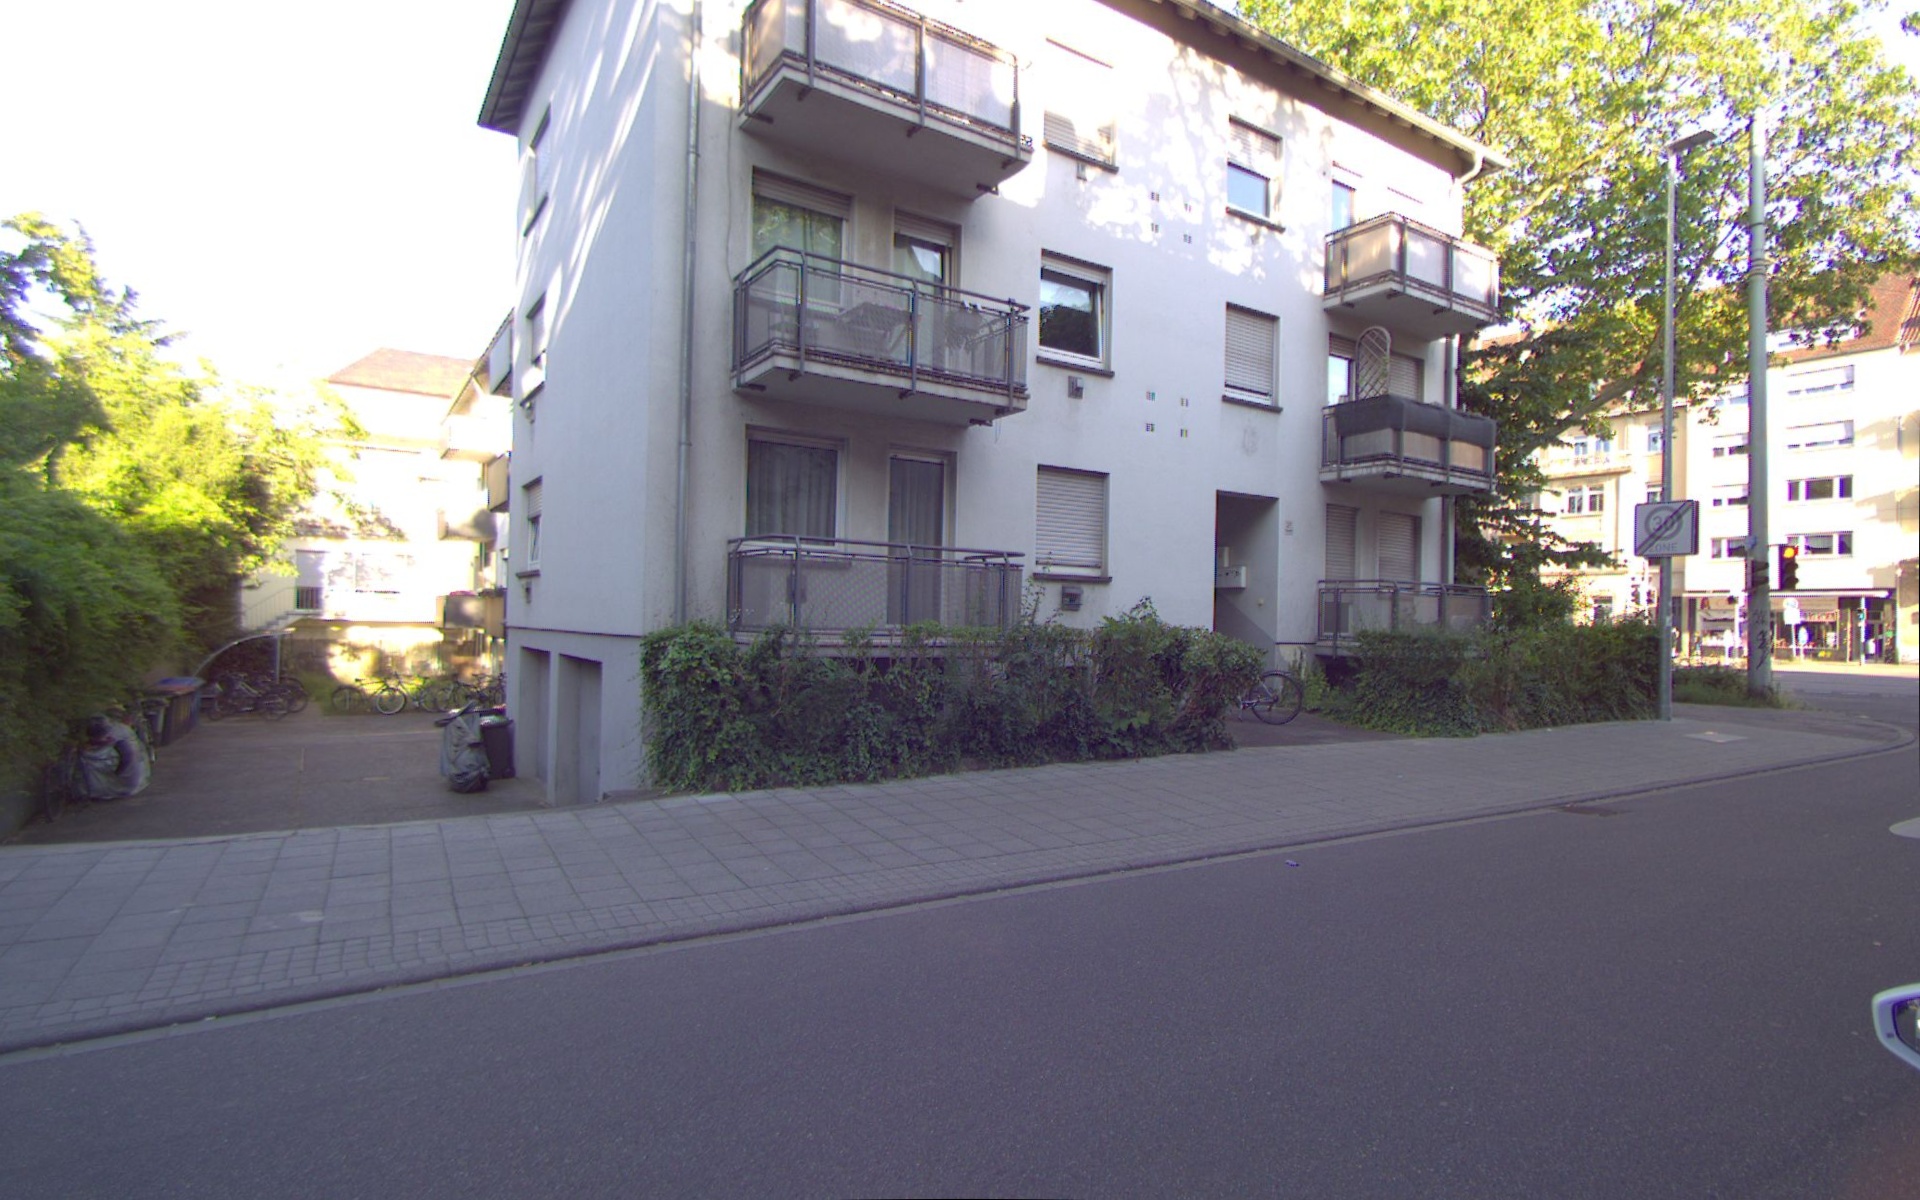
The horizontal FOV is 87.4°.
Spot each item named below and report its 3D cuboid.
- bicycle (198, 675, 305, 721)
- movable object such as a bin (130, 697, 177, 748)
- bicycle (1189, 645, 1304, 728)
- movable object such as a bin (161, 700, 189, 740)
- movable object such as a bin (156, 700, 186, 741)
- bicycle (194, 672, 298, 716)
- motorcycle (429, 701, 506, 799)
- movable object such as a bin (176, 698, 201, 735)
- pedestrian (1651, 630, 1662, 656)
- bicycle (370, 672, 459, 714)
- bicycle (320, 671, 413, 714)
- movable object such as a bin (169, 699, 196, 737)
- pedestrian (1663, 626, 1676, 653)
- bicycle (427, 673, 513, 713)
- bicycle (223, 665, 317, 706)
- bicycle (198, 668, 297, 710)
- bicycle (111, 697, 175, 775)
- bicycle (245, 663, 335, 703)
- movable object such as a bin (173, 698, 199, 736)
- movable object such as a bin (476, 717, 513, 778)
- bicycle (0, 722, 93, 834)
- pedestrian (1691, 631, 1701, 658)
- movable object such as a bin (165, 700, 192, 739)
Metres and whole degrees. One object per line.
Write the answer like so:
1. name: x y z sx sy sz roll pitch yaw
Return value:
1. bicycle: -17.277 2.404 24.552 2.045 1.034 0.637 4 0 -30
2. movable object such as a bin: -14.951 2.259 18.624 0.570 0.891 0.491 2 -4 -30
3. bicycle: 3.882 1.153 13.617 1.433 0.988 0.407 3 0 21
4. movable object such as a bin: -15.823 2.419 20.251 0.377 0.784 0.361 2 -4 -30
5. movable object such as a bin: -15.632 2.388 19.899 0.393 0.784 0.361 2 -4 -30
6. bicycle: -18.029 2.386 25.431 2.045 1.034 0.568 4 0 -30
7. motorcycle: -7.387 2.201 15.034 0.751 1.268 1.577 1 -2 -36
8. movable object such as a bin: -16.606 2.508 21.627 0.342 0.768 0.361 2 -4 -30
9. pedestrian: 41.157 2.519 59.381 0.501 1.531 0.535 0 -1 33
10. bicycle: -14.732 2.516 27.178 2.045 1.034 0.637 4 0 -30
11. bicycle: -15.694 2.462 26.615 2.045 1.034 0.637 4 0 -30
12. movable object such as a bin: -16.210 2.458 20.947 0.362 0.768 0.361 2 -4 -30
13. pedestrian: 40.793 2.265 57.768 0.558 1.531 0.499 0 -1 41
14. bicycle: -13.581 2.586 27.859 2.045 1.034 0.637 4 0 -30
15. bicycle: -18.996 2.369 27.694 2.045 1.034 0.611 4 0 -30
16. bicycle: -18.861 2.368 26.657 2.045 1.034 0.611 4 0 -30
17. bicycle: -13.221 2.172 16.296 0.509 1.033 1.922 3 -1 -32
18. bicycle: -19.019 2.373 28.566 2.045 1.034 0.564 4 0 -30
19. movable object such as a bin: -16.404 2.475 21.287 0.362 0.768 0.361 2 -4 -30
20. movable object such as a bin: -7.502 2.364 16.185 0.428 0.899 0.720 1 -2 -34
21. bicycle: -10.985 2.093 12.078 0.509 1.033 1.922 3 -1 -32
22. pedestrian: 41.990 2.515 57.308 0.467 1.531 0.429 0 -1 41
23. movable object such as a bin: -16.023 2.444 20.597 0.371 0.768 0.361 2 -4 -30
